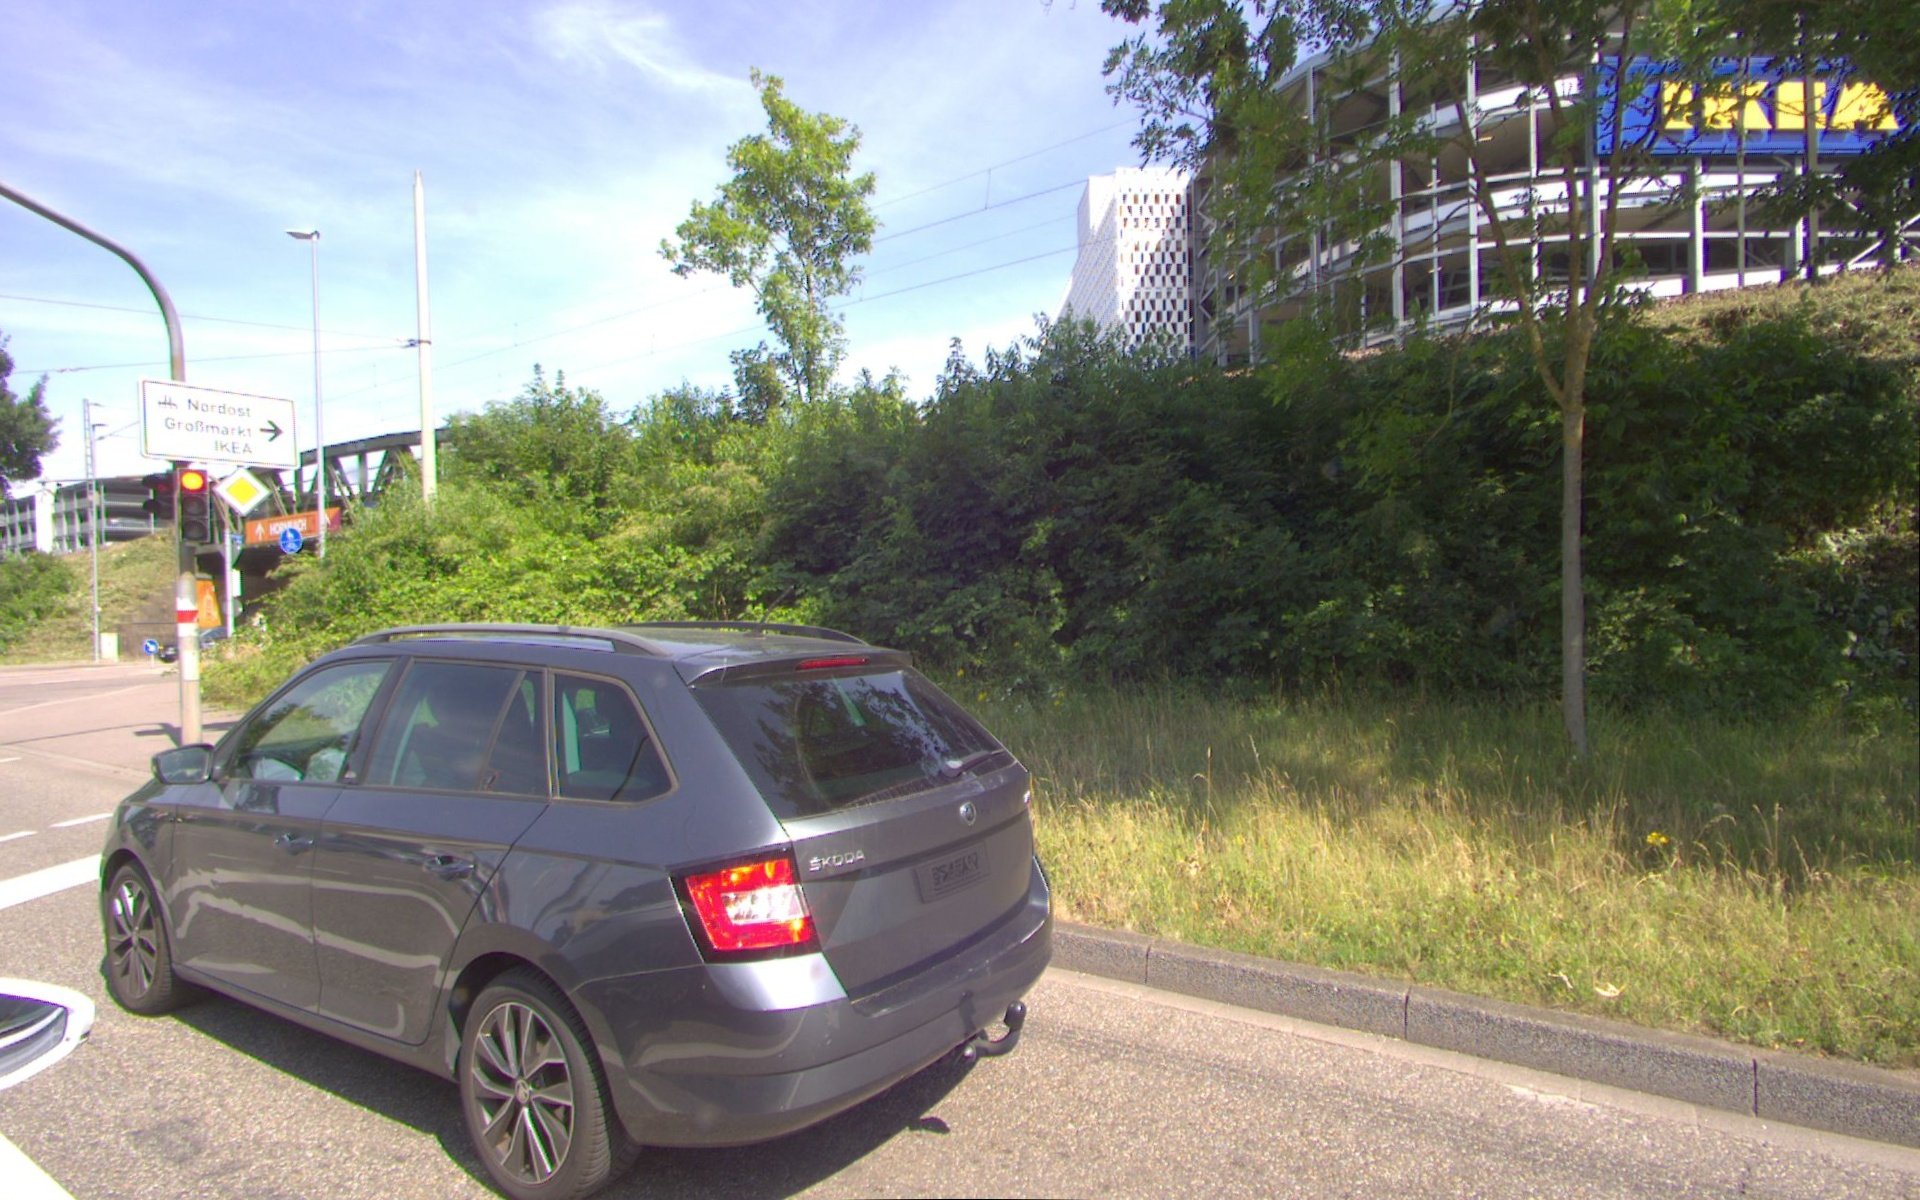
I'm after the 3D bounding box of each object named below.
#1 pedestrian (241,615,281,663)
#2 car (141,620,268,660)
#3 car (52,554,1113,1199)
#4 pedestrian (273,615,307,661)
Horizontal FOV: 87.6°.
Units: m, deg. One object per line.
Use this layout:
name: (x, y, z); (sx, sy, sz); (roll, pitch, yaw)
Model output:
pedestrian: (-24.208, 1.338, 34.685); (0.766, 1.633, 0.866); (-1, 0, 32)
car: (-30.075, 1.566, 40.018); (1.755, 1.462, 4.222); (-1, 0, 2)
car: (-1.598, 0.700, 3.755); (3.978, 1.472, 1.671); (-1, -2, 32)
pedestrian: (-23.677, 1.339, 35.386); (0.766, 1.600, 0.728); (-1, 0, 32)
